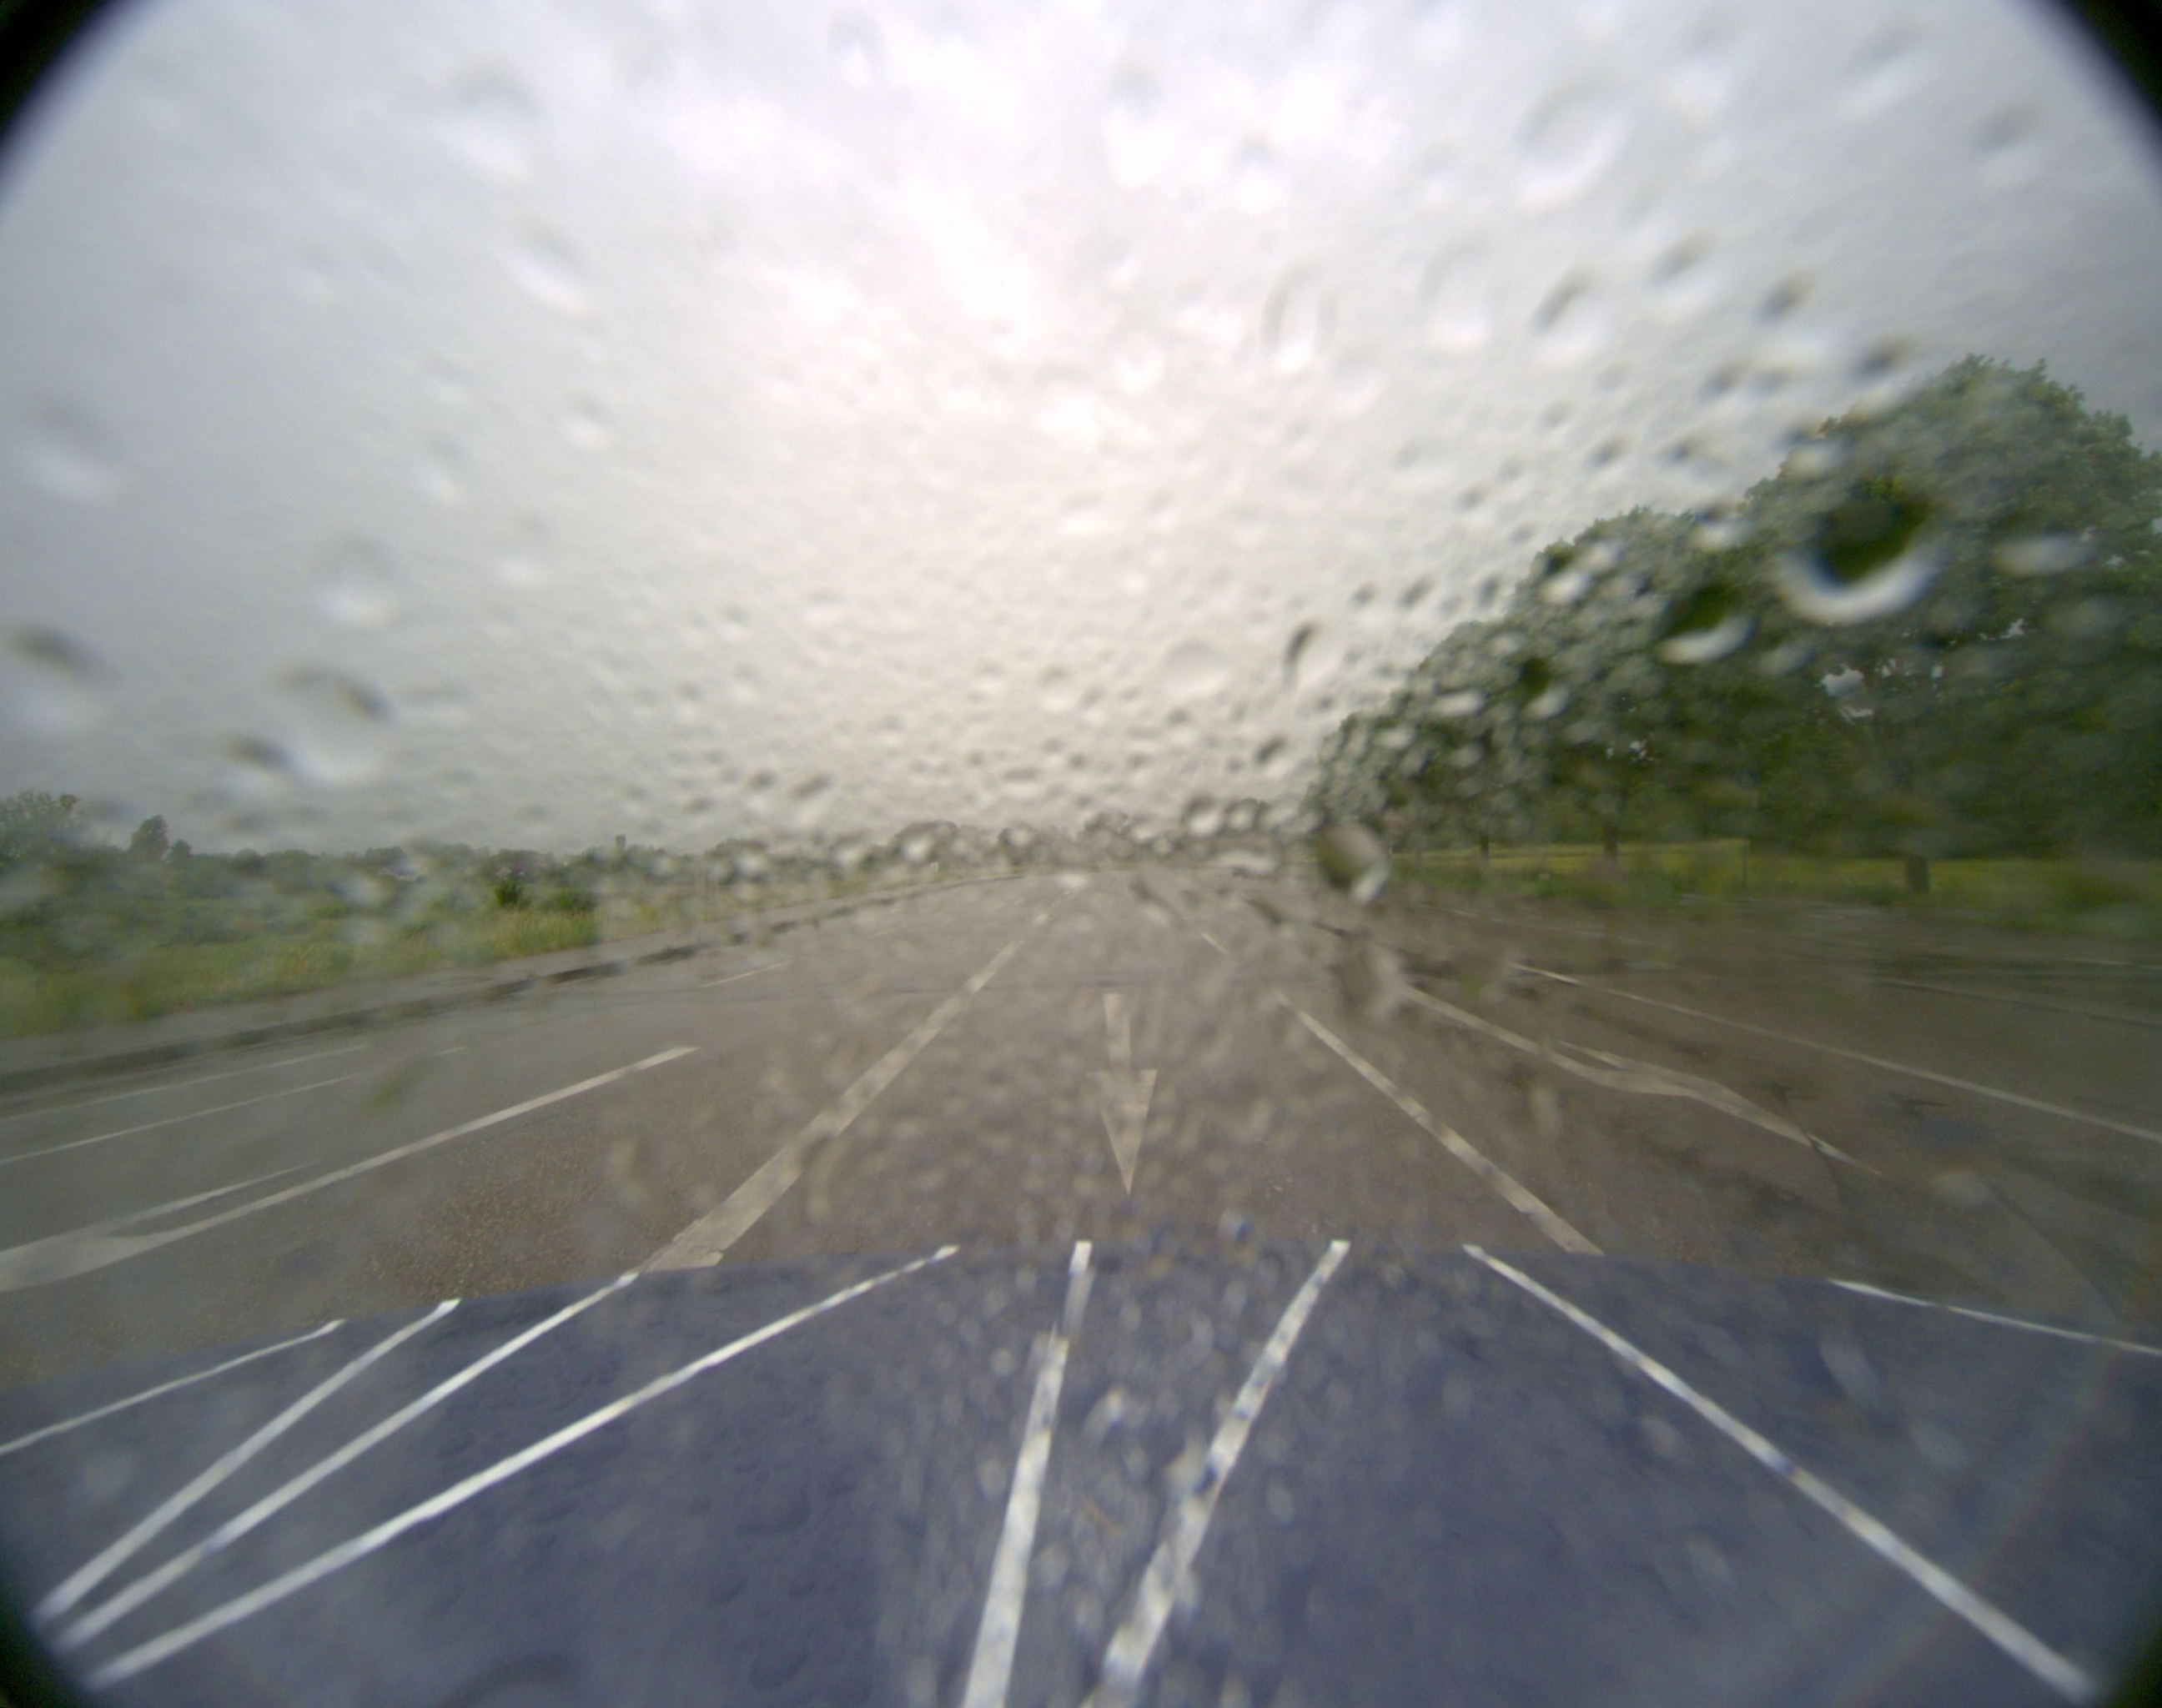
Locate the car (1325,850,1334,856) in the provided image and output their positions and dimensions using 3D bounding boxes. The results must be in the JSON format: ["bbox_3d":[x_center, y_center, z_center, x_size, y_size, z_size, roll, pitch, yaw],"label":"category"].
[{"bbox_3d":[66.980,-0.284,205.056,1.880,1.564,4.652,1,1,23],"label":"car"}]
